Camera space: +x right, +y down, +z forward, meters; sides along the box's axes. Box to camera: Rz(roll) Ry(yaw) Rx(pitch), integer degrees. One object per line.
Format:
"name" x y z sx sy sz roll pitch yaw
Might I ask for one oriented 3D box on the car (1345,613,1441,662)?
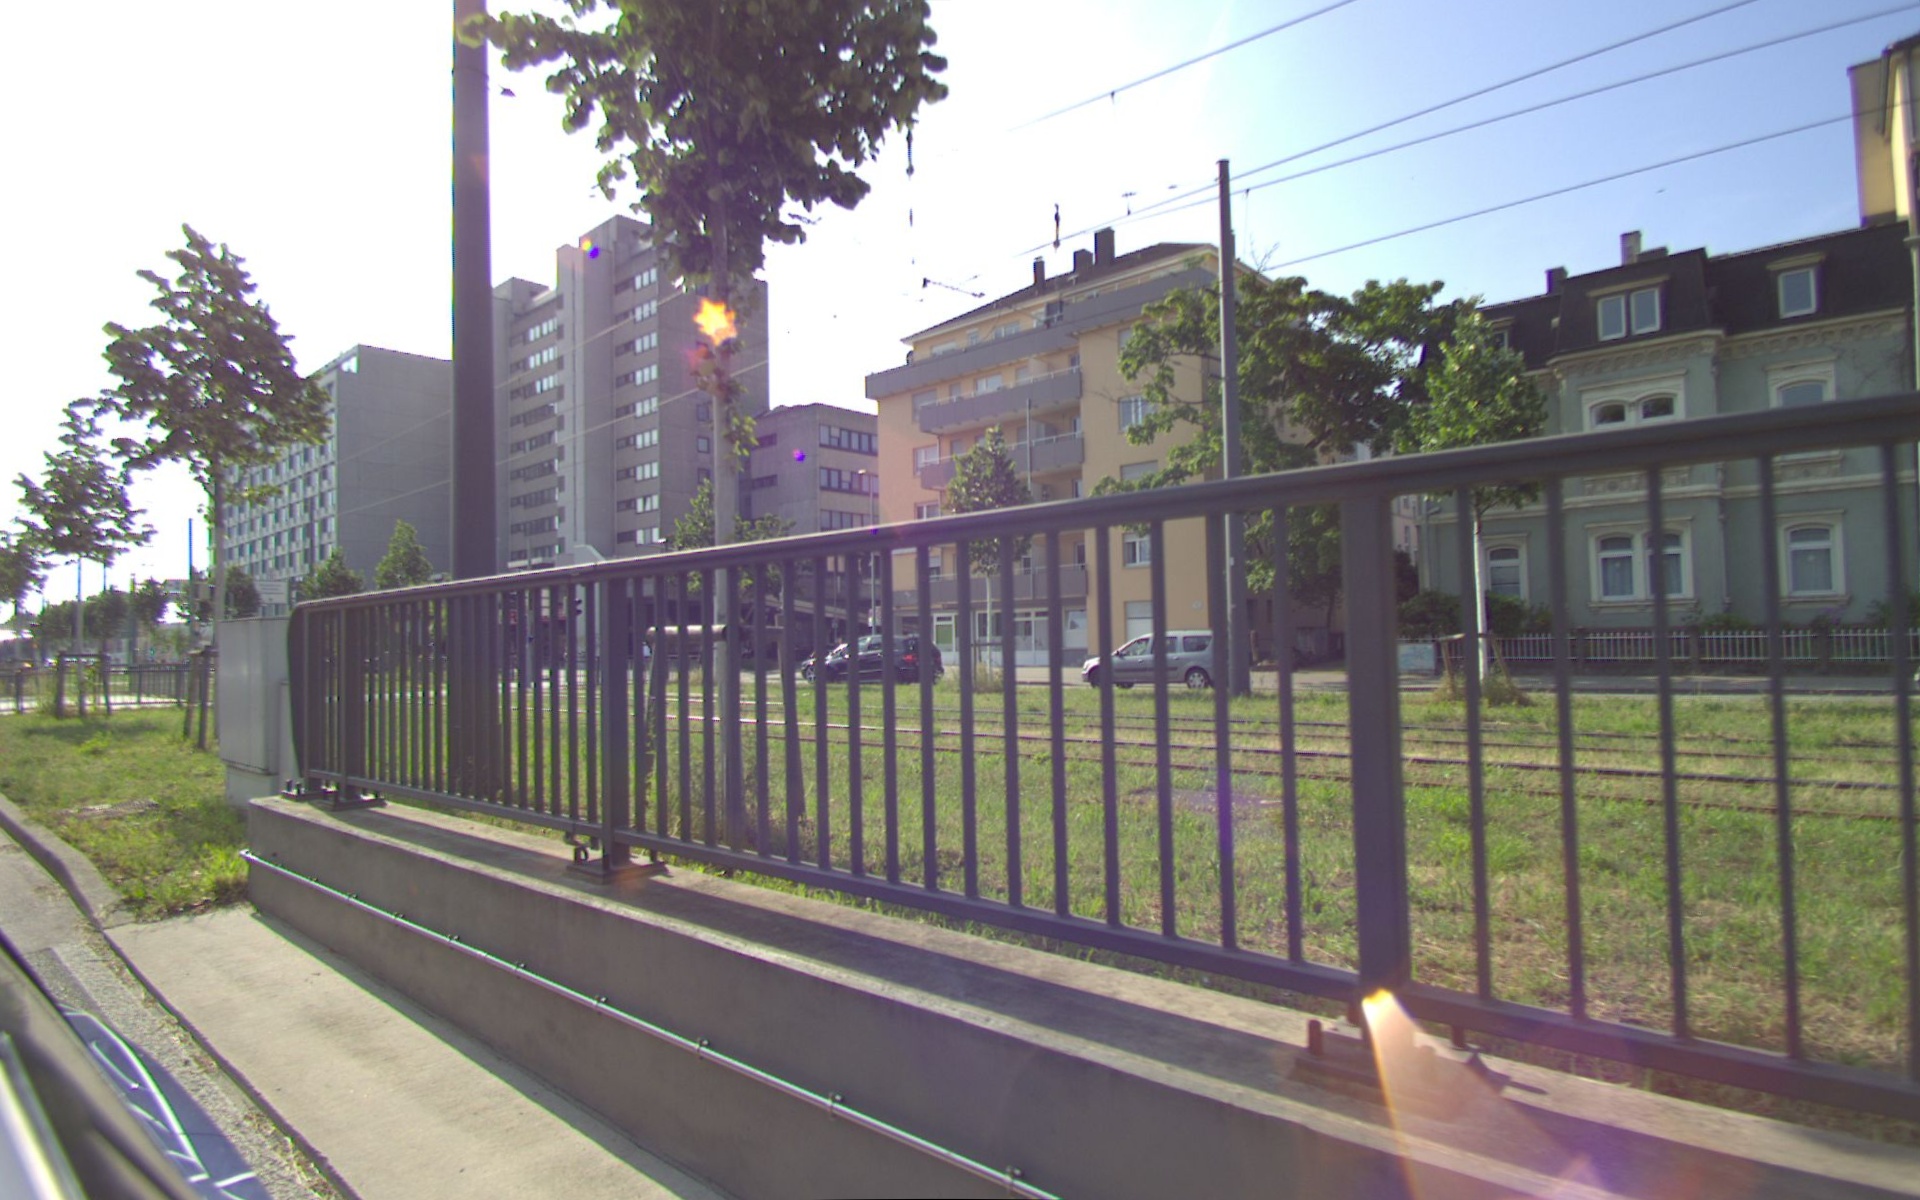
"car" 17.018 1.473 39.697 2.164 1.762 4.581 -3 -4 40

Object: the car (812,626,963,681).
"car" -2.222 1.592 30.291 4.394 1.524 1.973 -3 -3 40

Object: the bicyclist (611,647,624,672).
"bicyclist" -20.985 3.652 62.040 0.610 1.511 0.988 -1 -3 -9

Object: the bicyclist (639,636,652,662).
"bicyclist" -18.342 2.863 58.996 0.676 1.451 0.808 -2 -1 -20

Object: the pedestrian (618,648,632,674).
"pedestrian" -23.721 4.338 71.654 0.623 1.790 0.692 -3 -3 29

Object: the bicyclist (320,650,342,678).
"bicyclist" -32.773 3.358 52.739 0.897 1.396 0.706 -1 -4 -24

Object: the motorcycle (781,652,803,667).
"motorcycle" -12.148 4.315 73.302 1.946 1.025 0.487 -4 -3 43

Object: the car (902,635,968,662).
"car" -1.926 3.612 75.714 4.827 1.984 1.974 -2 -3 39

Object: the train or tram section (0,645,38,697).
"train or tram section" -67.065 4.999 71.349 6.669 3.456 2.466 -4 -4 43

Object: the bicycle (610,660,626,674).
"bicycle" -20.980 4.107 62.060 0.619 0.799 2.006 -1 -3 -9

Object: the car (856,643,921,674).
"car" -4.058 3.310 57.749 1.707 1.596 3.588 -6 -5 38

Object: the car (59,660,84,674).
"car" -100.506 7.562 114.457 4.002 1.586 1.787 -4 -3 45

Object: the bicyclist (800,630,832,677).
"bicyclist" -5.696 2.128 40.024 1.082 1.819 0.662 -3 -3 38

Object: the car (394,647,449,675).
"car" -40.659 4.610 76.523 1.854 1.984 4.108 -1 -2 3

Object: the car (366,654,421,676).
"car" -43.742 5.006 78.236 1.854 1.619 4.108 -1 -2 3

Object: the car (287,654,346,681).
"car" -58.433 6.084 92.026 1.859 2.326 5.405 -1 -2 2

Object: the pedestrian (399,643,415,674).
"pedestrian" -31.146 3.302 57.034 0.651 1.703 0.646 1 -4 -45

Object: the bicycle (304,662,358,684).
"bicycle" -32.749 3.796 52.704 2.306 1.007 0.710 0 -3 -24

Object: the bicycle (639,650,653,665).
"bicycle" -18.321 3.351 59.007 0.708 0.804 1.609 -2 -1 -20

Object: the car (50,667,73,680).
"car" -106.597 8.728 120.031 4.002 1.486 1.787 -4 -3 45

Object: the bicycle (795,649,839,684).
"bicycle" -5.658 2.616 39.990 1.755 1.356 0.688 -3 -3 37

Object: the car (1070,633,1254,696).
"car" 5.445 1.738 27.577 4.522 1.589 1.974 -3 -4 38

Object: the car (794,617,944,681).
"car" -3.200 1.692 34.735 5.298 2.029 1.973 -3 -3 40

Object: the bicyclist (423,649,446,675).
"bicyclist" -30.756 3.637 59.280 0.685 1.451 1.011 -4 -3 40
